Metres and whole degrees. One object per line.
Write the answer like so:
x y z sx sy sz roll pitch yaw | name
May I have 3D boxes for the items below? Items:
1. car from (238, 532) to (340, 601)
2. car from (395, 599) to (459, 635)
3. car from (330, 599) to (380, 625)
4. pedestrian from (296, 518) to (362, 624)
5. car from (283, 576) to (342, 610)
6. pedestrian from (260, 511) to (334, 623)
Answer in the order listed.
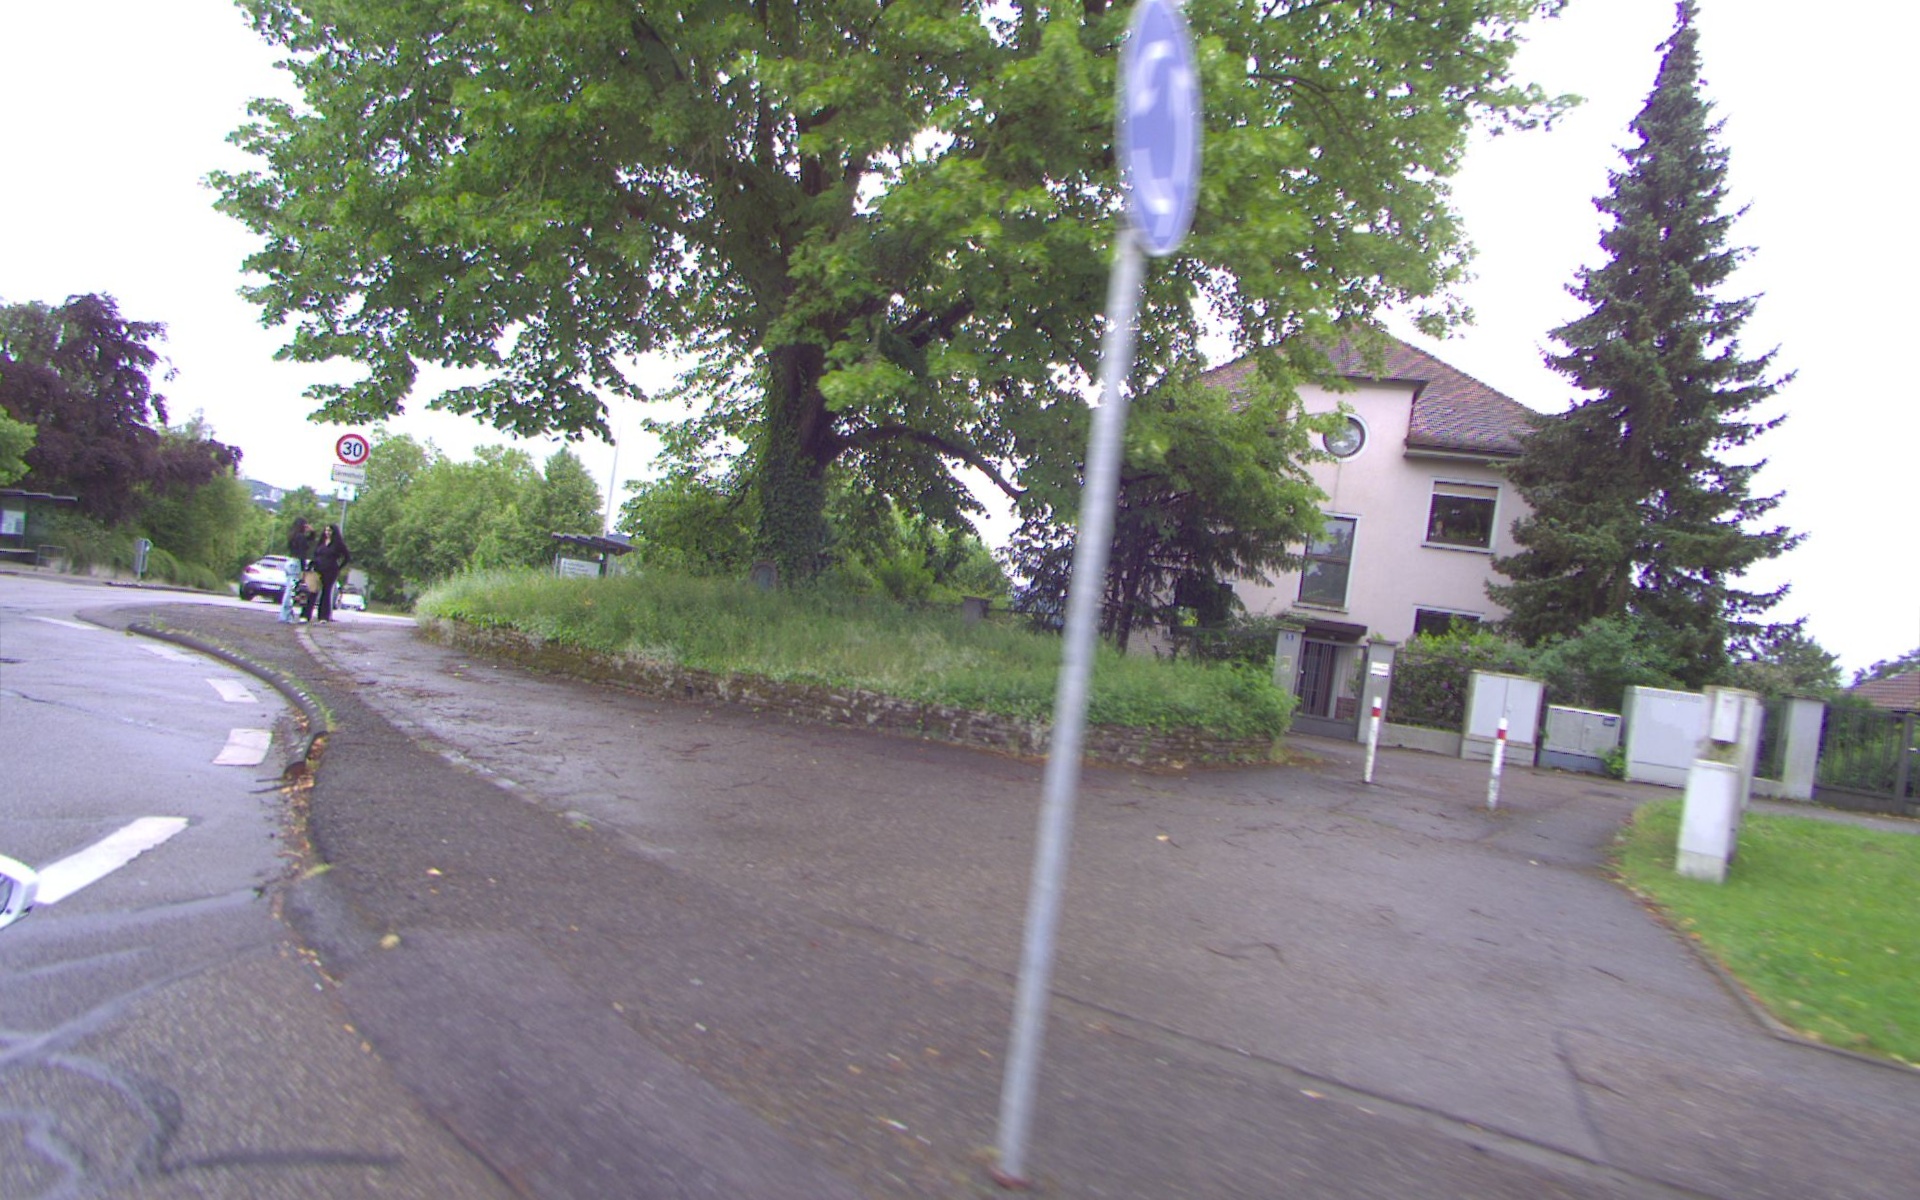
-20.808 -1.050 31.375 1.747 1.823 4.222 7 0 -24 | car
-35.294 1.100 66.597 3.937 1.861 2.067 6 -2 35 | car
-40.949 0.772 68.193 1.888 1.408 4.498 8 -2 -19 | car
-10.972 -0.505 17.497 0.522 1.732 0.634 6 -2 37 | pedestrian
-35.920 -0.348 55.917 1.891 1.407 4.496 9 -5 -23 | car
-10.905 -0.532 16.558 0.624 1.732 0.530 7 -1 7 | pedestrian
